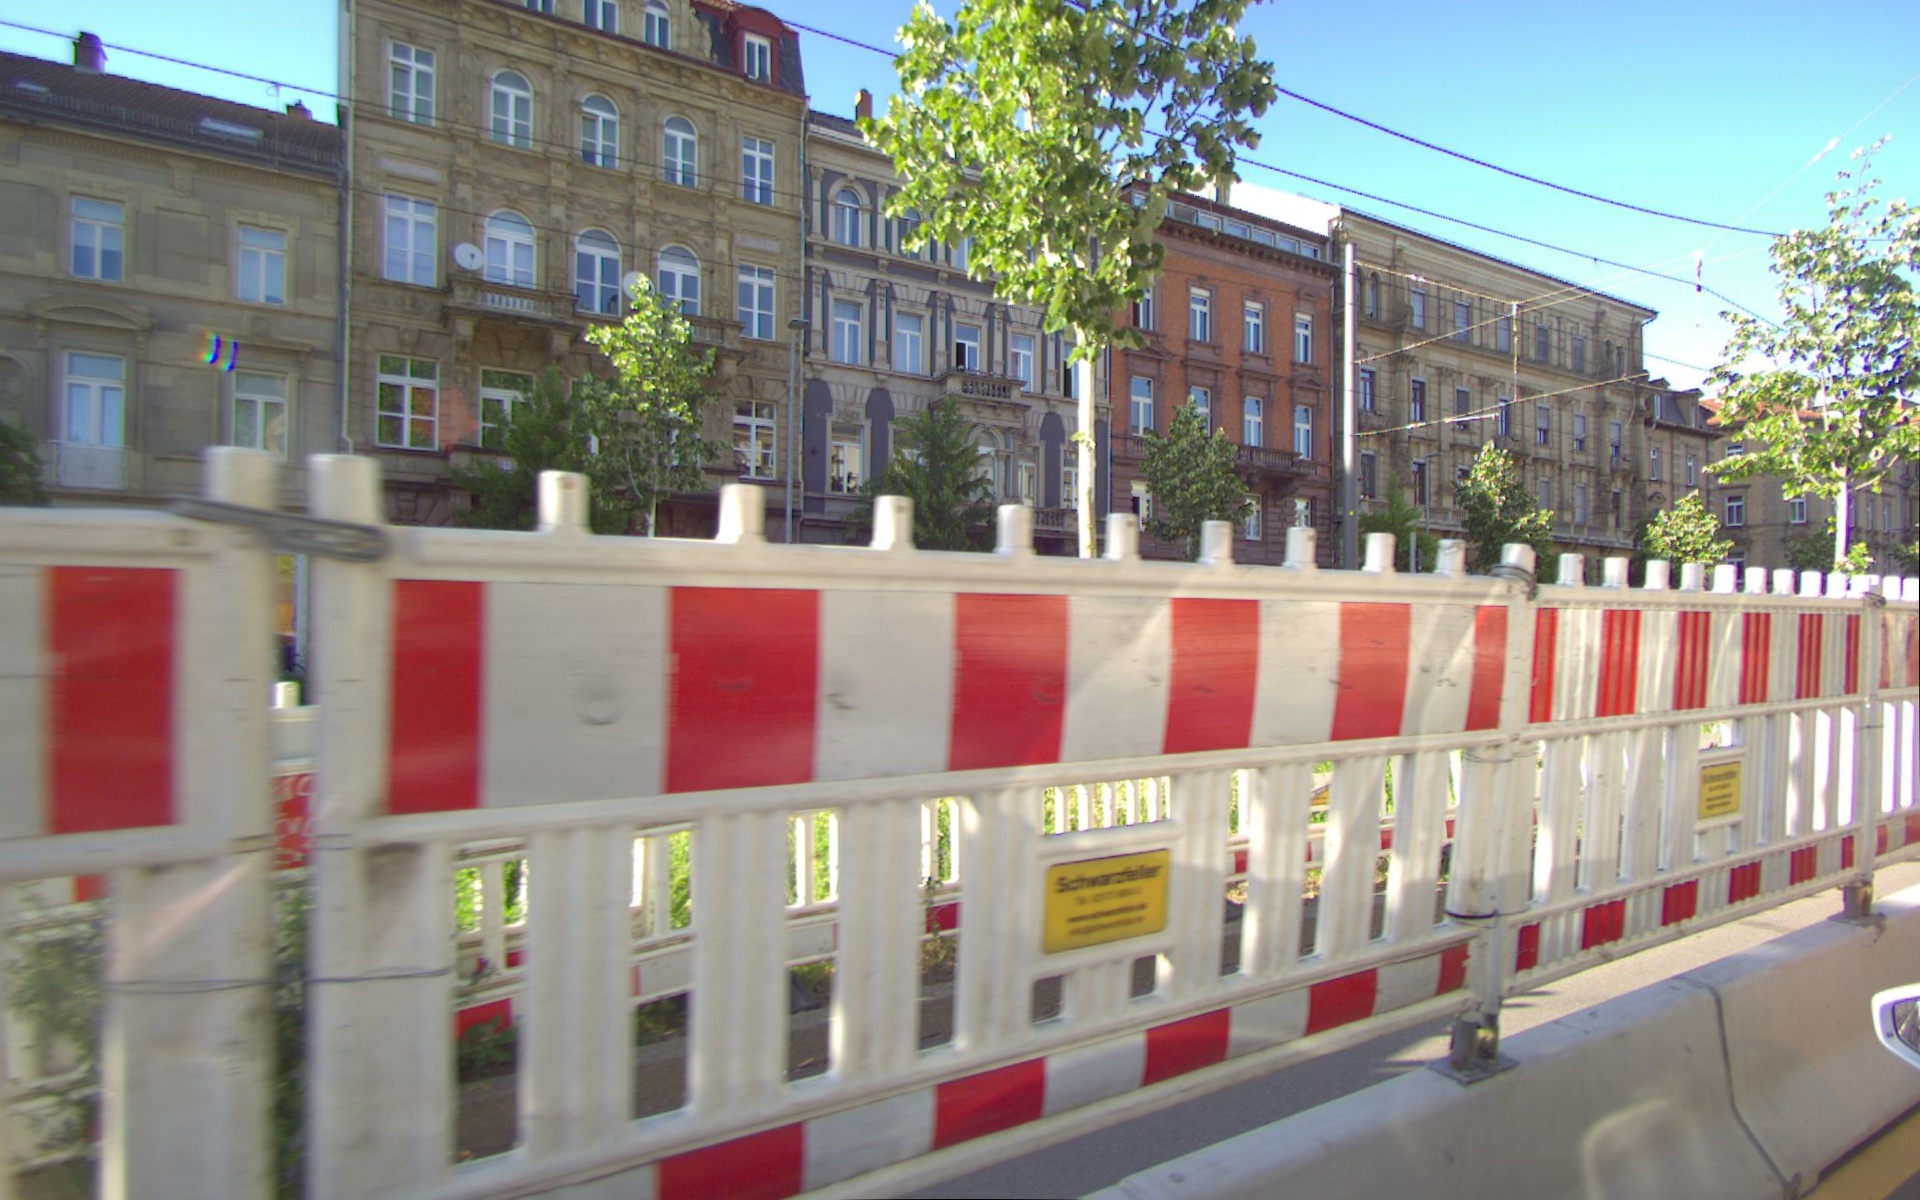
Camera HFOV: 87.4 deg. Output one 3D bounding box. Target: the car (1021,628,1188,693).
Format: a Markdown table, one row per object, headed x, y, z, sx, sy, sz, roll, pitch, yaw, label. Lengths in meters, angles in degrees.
| x | y | z | sx | sy | sz | roll | pitch | yaw | label |
| --- | --- | --- | --- | --- | --- | --- | --- | --- | --- |
| 4.176 | 1.690 | 28.821 | 4.489 | 1.680 | 1.930 | 1 | 0 | -29 | car |

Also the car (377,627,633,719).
| x | y | z | sx | sy | sz | roll | pitch | yaw | label |
| --- | --- | --- | --- | --- | --- | --- | --- | --- | --- |
| -8.947 | 1.366 | 19.837 | 4.399 | 1.573 | 1.983 | 1 | 0 | -31 | car |

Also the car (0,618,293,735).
| x | y | z | sx | sy | sz | roll | pitch | yaw | label |
| --- | --- | --- | --- | --- | --- | --- | --- | --- | --- |
| -14.110 | 1.203 | 16.749 | 4.833 | 1.720 | 1.983 | 1 | 0 | -31 | car |
